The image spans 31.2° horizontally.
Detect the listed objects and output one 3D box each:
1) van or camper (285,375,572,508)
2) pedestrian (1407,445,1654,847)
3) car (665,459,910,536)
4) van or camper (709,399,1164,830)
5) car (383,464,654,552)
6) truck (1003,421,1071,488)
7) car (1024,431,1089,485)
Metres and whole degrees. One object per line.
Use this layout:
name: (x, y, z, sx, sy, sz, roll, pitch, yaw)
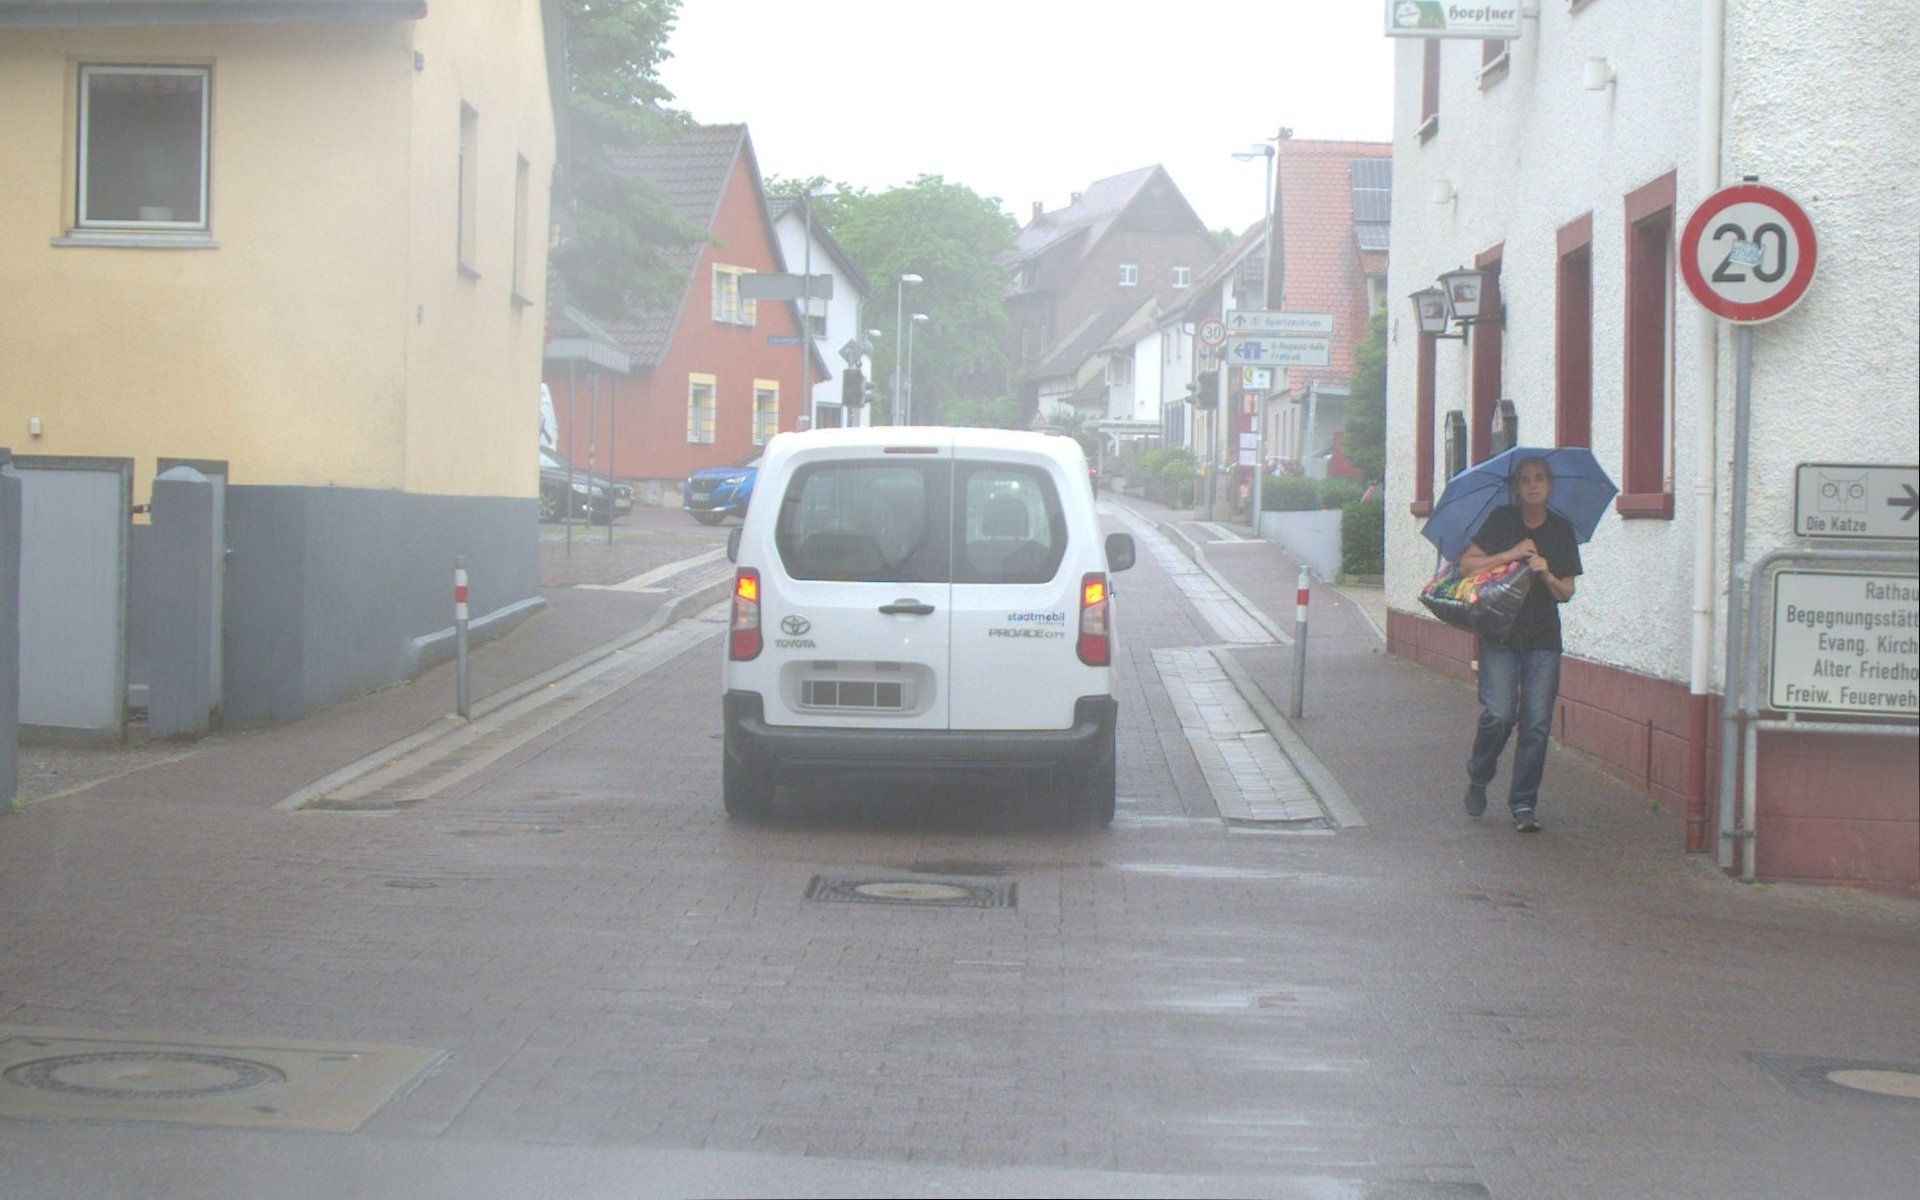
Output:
van or camper: (-10.233, -3.078, 66.131, 5.150, 2.427, 2.208, 2, 4, 28)
pedestrian: (2.555, 0.185, 15.501, 0.994, 1.730, 0.811, 1, 4, 5)
car: (-3.168, -1.870, 63.356, 3.987, 1.368, 2.111, -1, 2, -35)
van or camper: (-0.139, 0.005, 16.854, 1.943, 1.844, 4.001, 1, 2, -1)
car: (-7.704, -1.614, 60.088, 4.303, 1.472, 1.849, 1, 2, 14)
truck: (2.876, -5.447, 129.122, 2.350, 2.417, 4.950, 1, 2, -1)
car: (3.226, -4.745, 115.407, 1.993, 1.741, 4.001, 1, 2, -1)
